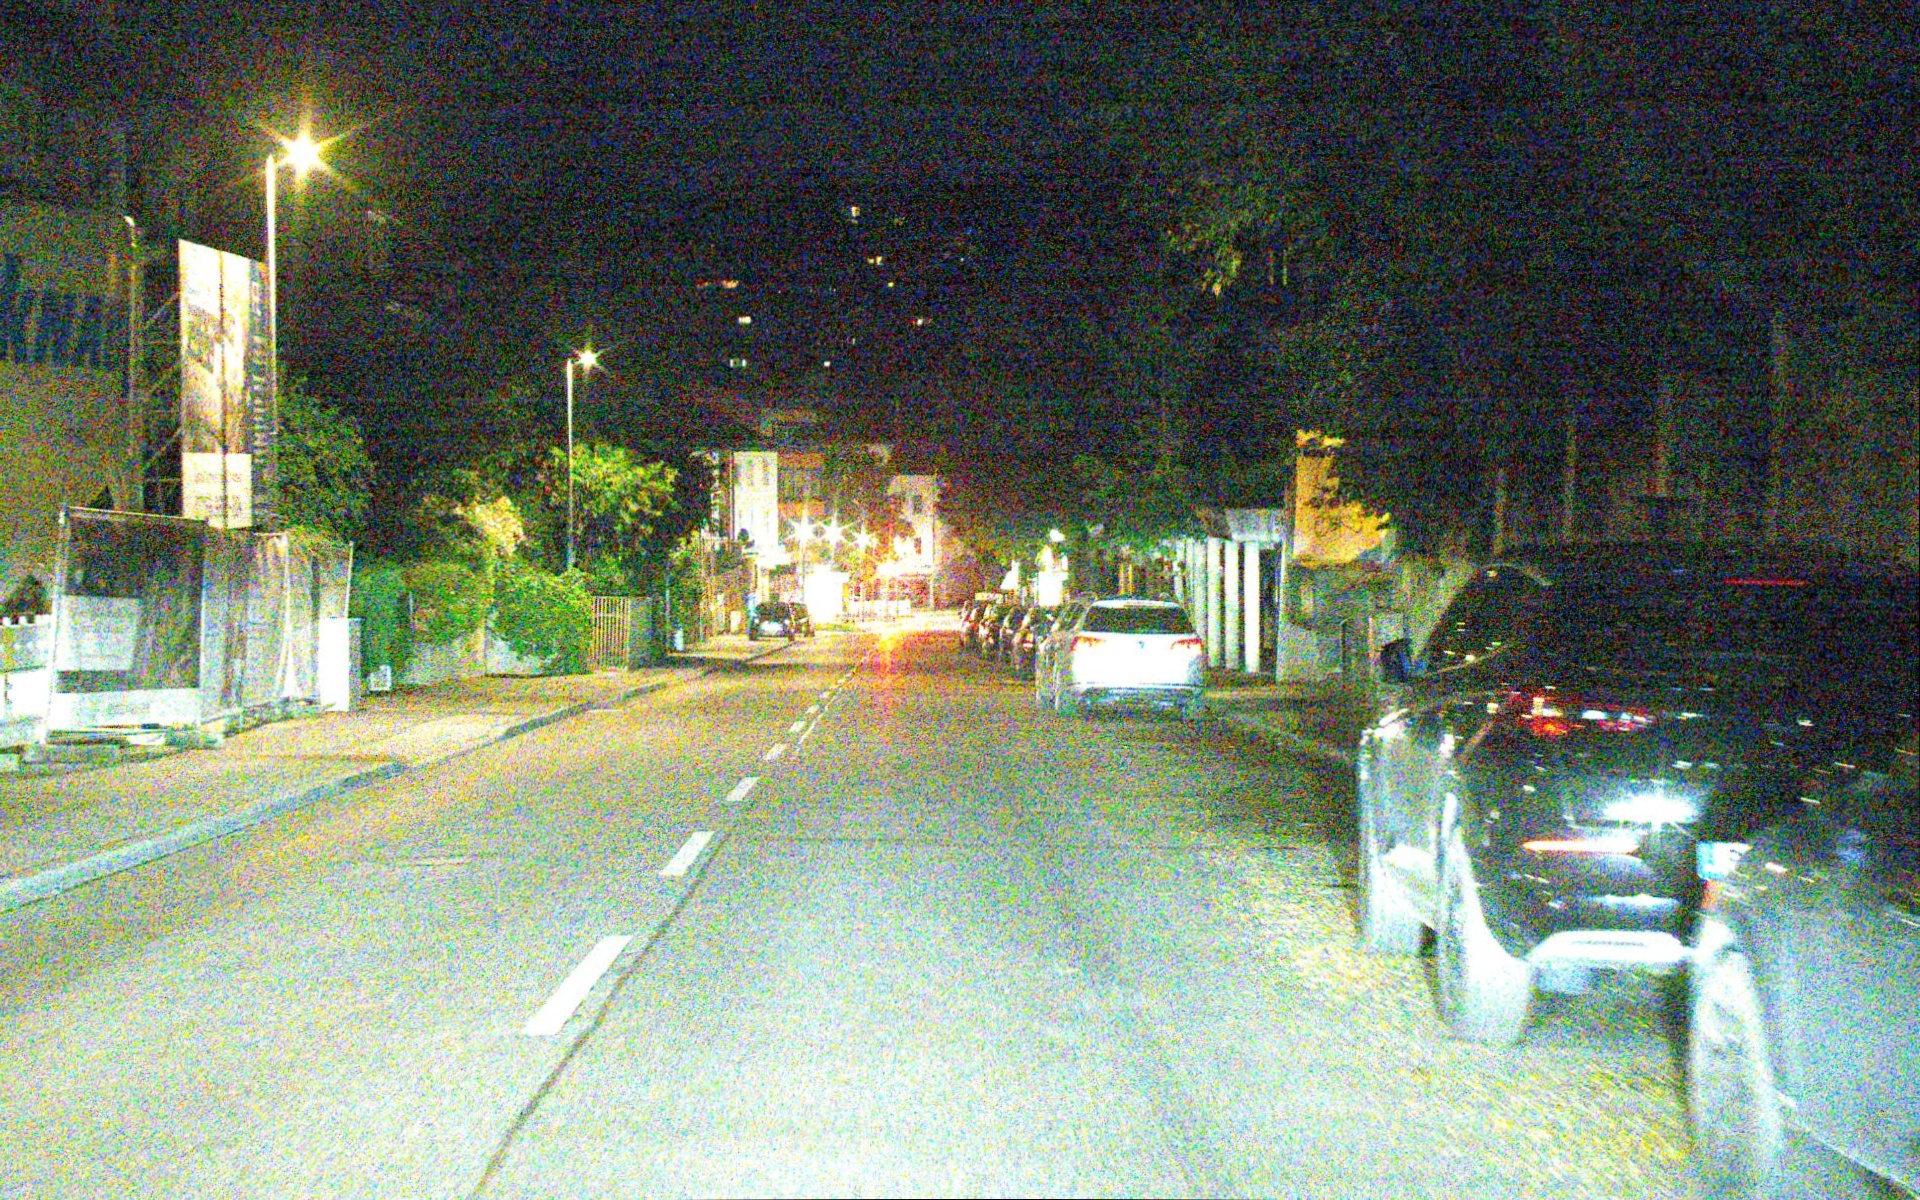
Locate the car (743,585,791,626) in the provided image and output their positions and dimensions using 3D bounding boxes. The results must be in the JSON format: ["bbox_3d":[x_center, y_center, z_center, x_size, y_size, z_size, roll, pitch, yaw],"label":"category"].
[{"bbox_3d":[-7.421,0.187,131.732,1.753,1.534,3.731,0,0,-4],"label":"car"}]

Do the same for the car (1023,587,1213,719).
[{"bbox_3d":[1.875,0.607,41.953,1.763,1.470,4.276,2,0,-4],"label":"car"}]

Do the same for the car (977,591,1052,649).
[{"bbox_3d":[1.395,0.517,89.752,1.682,1.443,4.000,1,0,-3],"label":"car"}]

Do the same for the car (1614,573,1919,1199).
[{"bbox_3d":[2.622,0.725,6.743,1.743,1.465,4.257,2,1,-1],"label":"car"}]

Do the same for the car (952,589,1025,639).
[{"bbox_3d":[0.850,0.409,105.000,1.682,1.443,4.001,1,0,-7],"label":"car"}]

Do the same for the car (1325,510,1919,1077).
[{"bbox_3d":[2.427,0.551,12.365,1.832,1.658,4.618,0,0,1],"label":"car"}]

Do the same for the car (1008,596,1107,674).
[{"bbox_3d":[1.824,0.650,65.394,1.629,1.434,3.865,0,0,-2],"label":"car"}]

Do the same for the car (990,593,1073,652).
[{"bbox_3d":[1.788,0.532,84.907,1.868,1.398,4.000,1,0,3],"label":"car"}]

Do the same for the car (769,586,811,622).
[{"bbox_3d":[-7.345,0.175,148.856,1.753,1.534,3.731,0,0,-2],"label":"car"}]
